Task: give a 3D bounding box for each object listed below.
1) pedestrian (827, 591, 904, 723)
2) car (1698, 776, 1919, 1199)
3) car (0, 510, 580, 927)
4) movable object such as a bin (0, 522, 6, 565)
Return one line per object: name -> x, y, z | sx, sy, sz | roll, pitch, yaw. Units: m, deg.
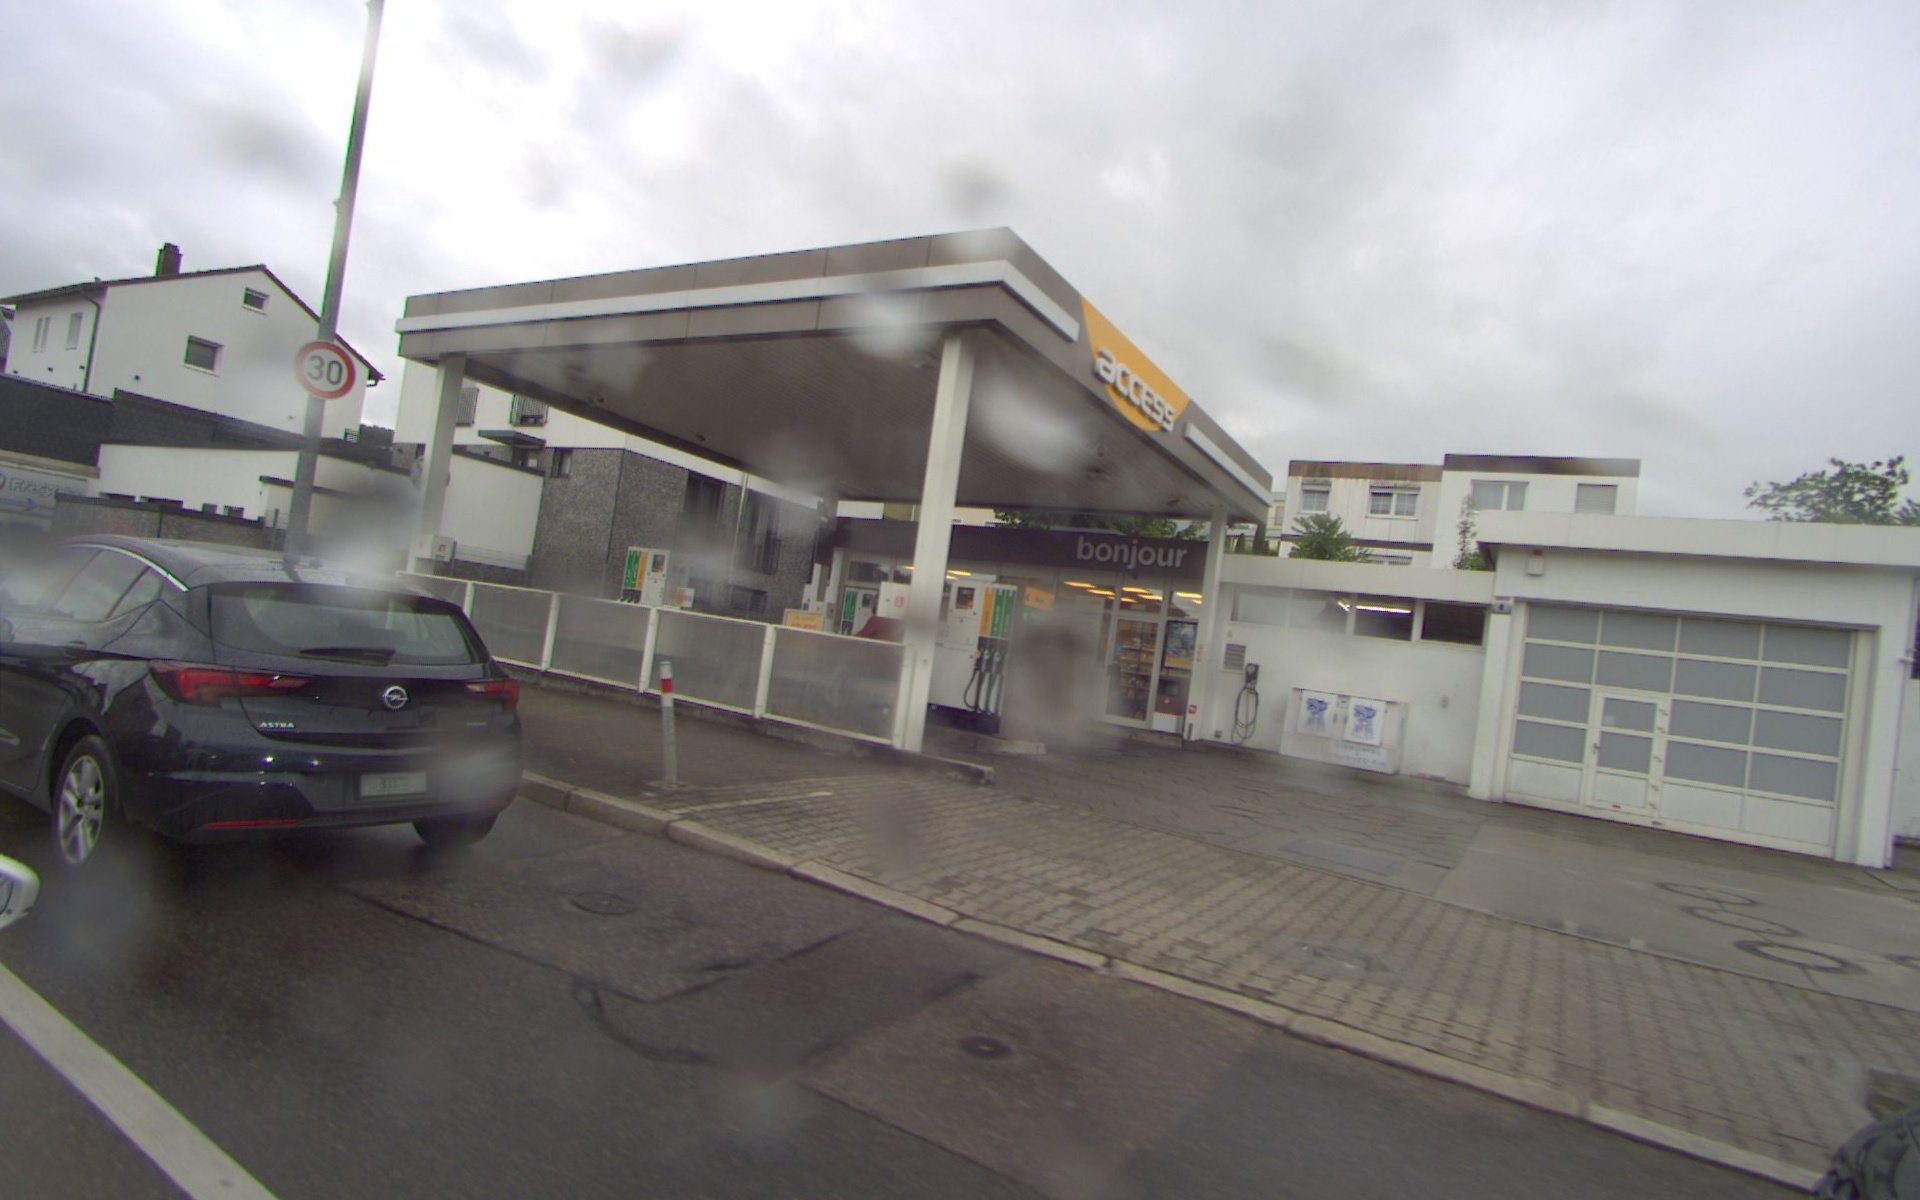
pedestrian -> -1.251, 0.764, 13.402 | 0.576, 1.675, 0.611 | 6, -2, 32
car -> 3.444, 1.265, 0.569 | 4.661, 1.440, 1.870 | 6, -3, 31
car -> -4.183, 0.395, 5.460 | 3.933, 1.466, 1.761 | 6, -3, 30
movable object such as a bin -> -25.648, -1.534, 26.462 | 0.656, 1.119, 0.596 | 7, 1, 31
